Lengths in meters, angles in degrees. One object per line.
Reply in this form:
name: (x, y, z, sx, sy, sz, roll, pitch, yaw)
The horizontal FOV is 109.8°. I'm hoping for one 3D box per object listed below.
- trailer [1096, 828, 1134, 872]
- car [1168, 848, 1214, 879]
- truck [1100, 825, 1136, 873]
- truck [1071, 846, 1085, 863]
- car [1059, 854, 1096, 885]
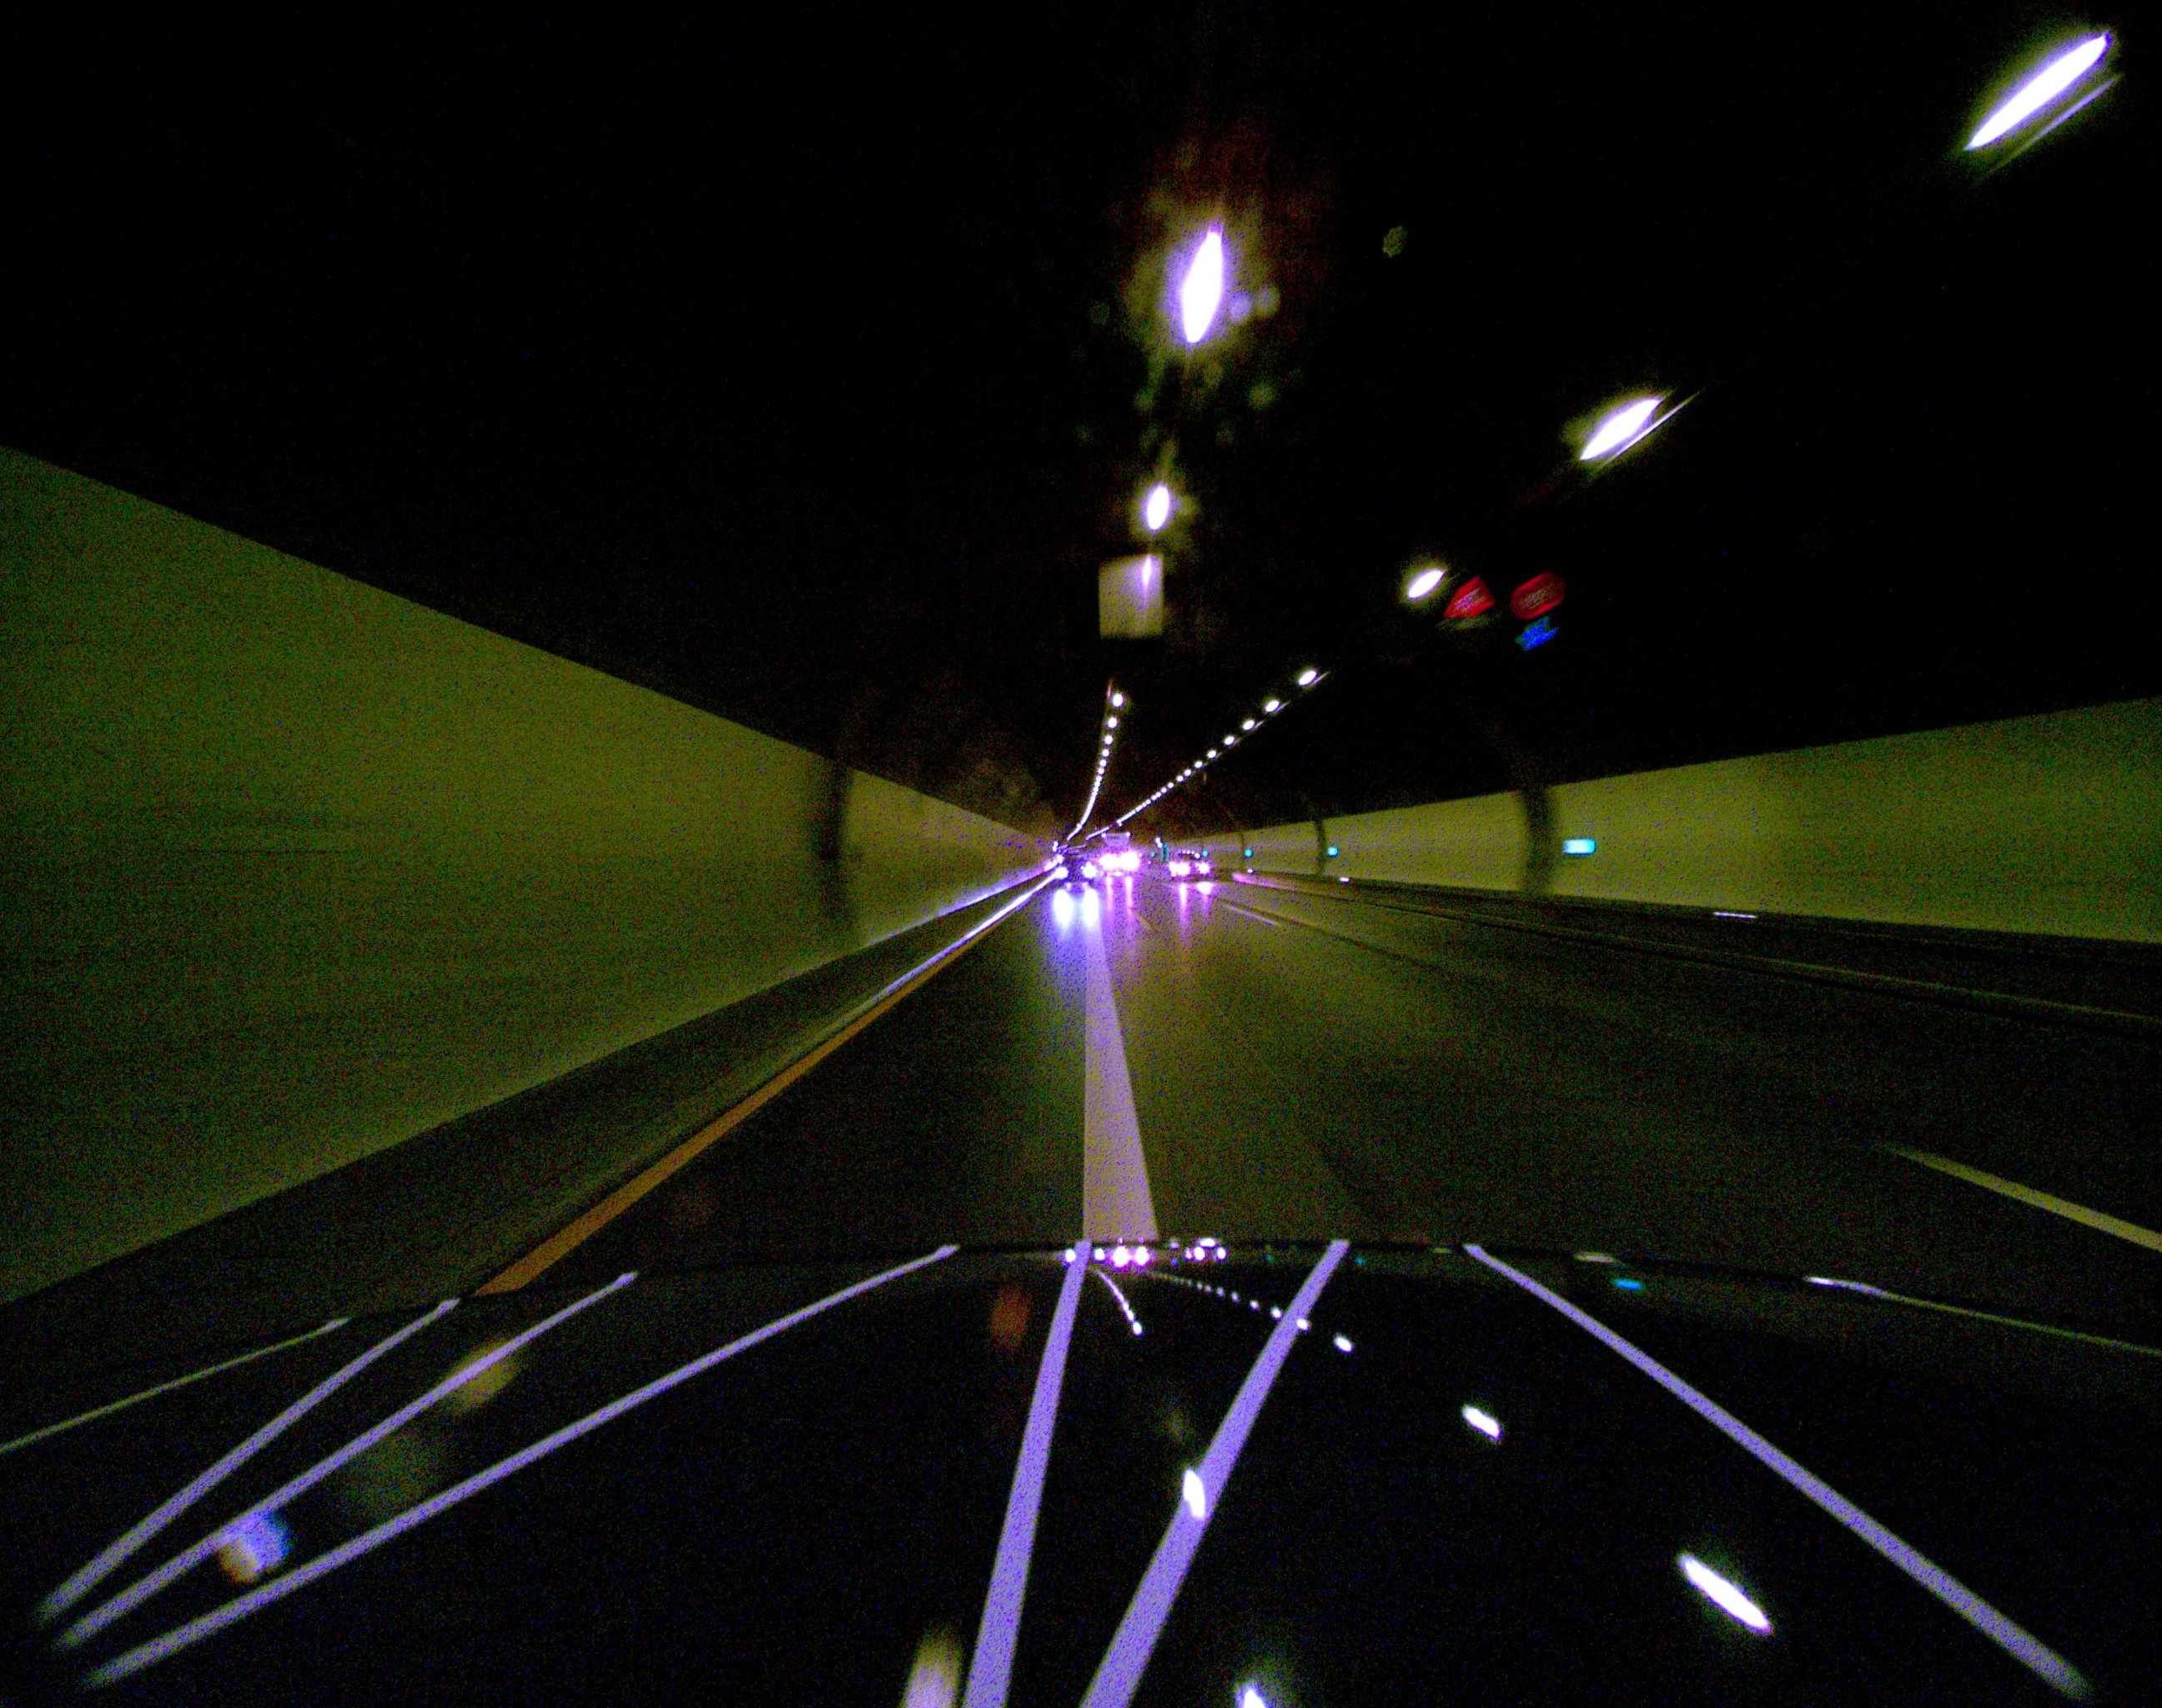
trailer: (2.731, -0.362, 64.479, 2.374, 3.328, 12.076, -1, 0, -1)
car: (5.989, 0.473, 41.839, 1.766, 1.563, 4.096, -2, 1, -1)
truck: (2.788, -0.369, 57.718, 2.374, 3.328, 4.719, -4, 1, 2)
truck: (-0.457, 0.132, 124.130, 2.151, 2.609, 9.908, -2, -1, -1)
car: (-0.139, 0.771, 40.323, 1.727, 1.474, 4.000, -2, 0, 2)
